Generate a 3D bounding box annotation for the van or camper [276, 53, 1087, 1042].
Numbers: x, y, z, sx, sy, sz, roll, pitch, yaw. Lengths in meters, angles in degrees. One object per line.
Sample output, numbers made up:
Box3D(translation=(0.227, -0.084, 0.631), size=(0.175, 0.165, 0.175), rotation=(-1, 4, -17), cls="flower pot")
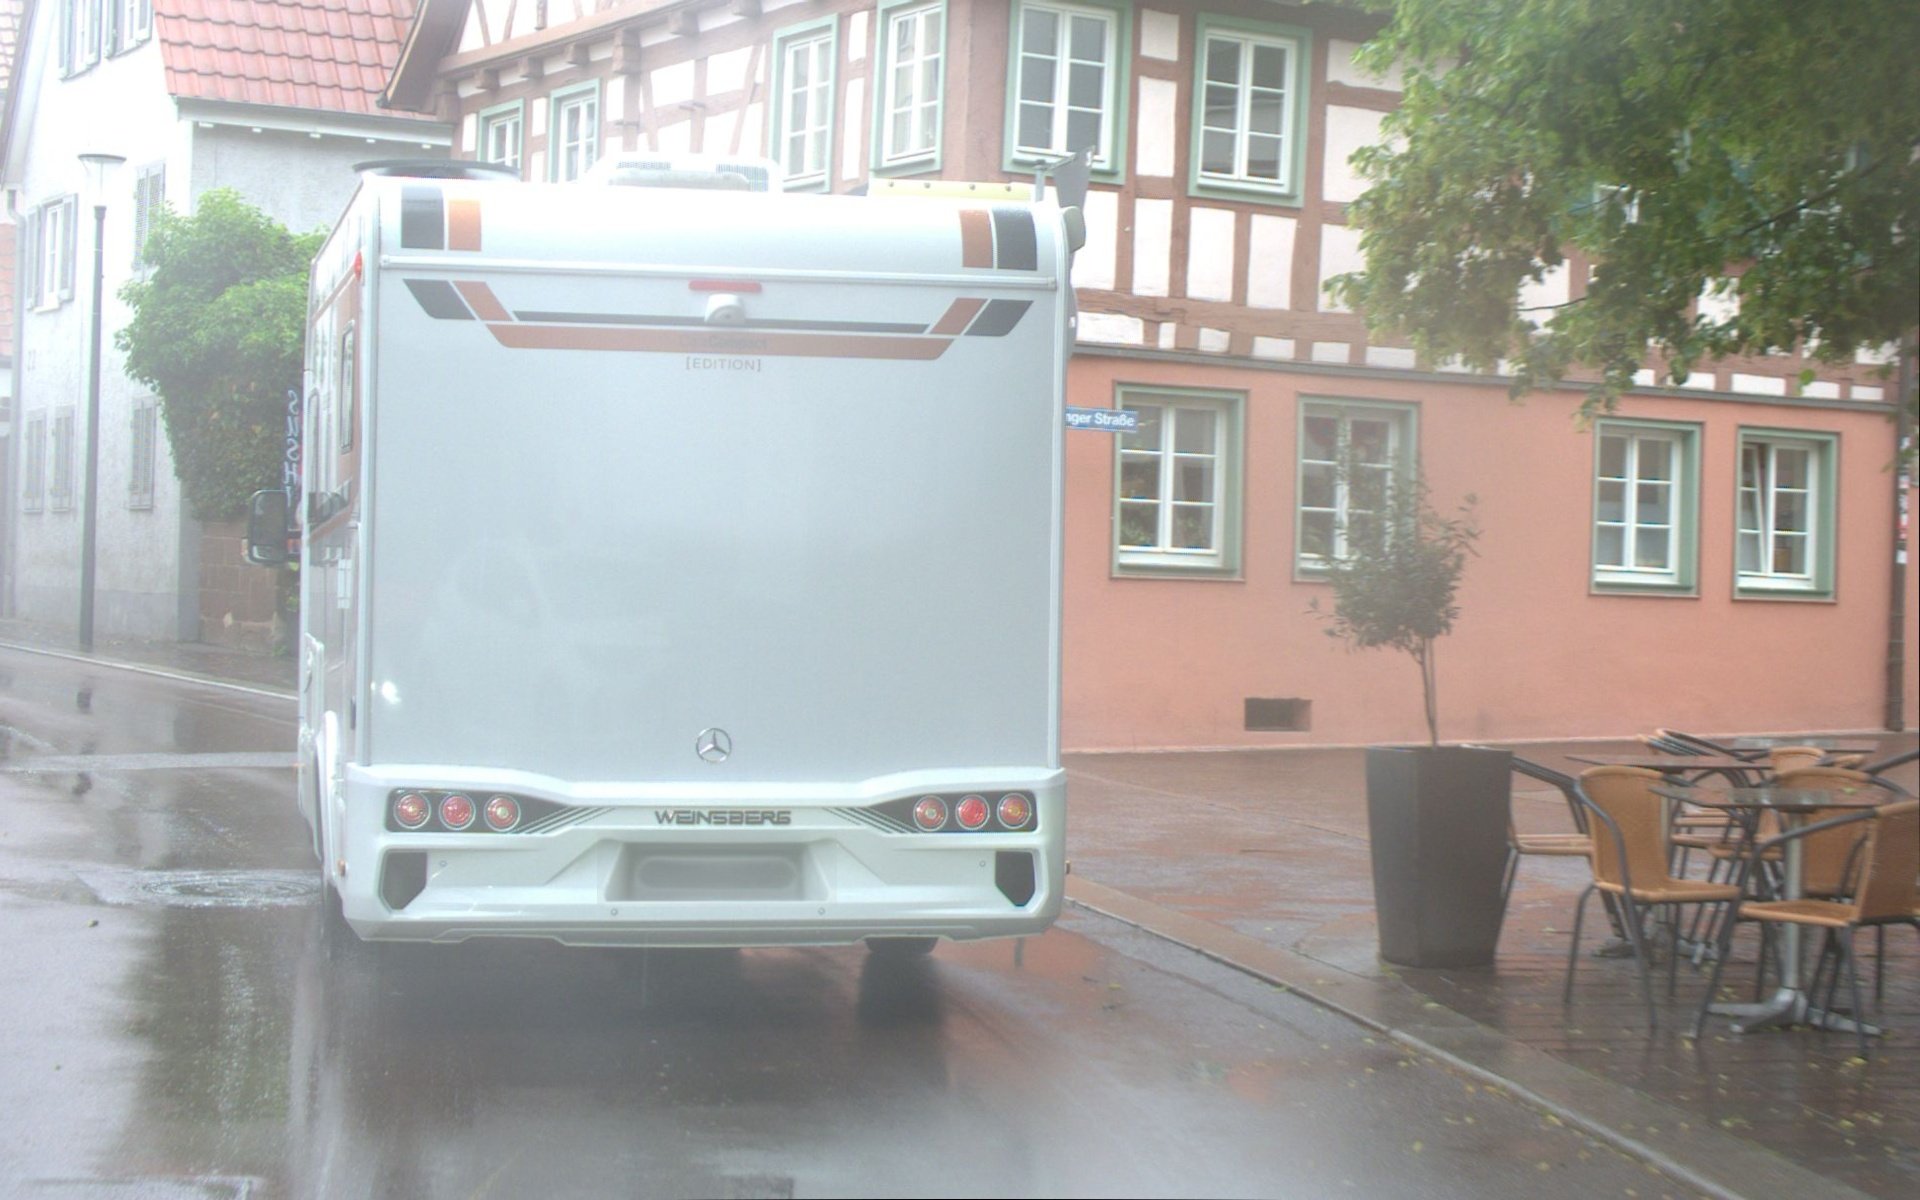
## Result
Box3D(translation=(-1.434, -0.157, 13.481), size=(2.325, 2.909, 6.395), rotation=(1, 0, -12), cls="van or camper")
